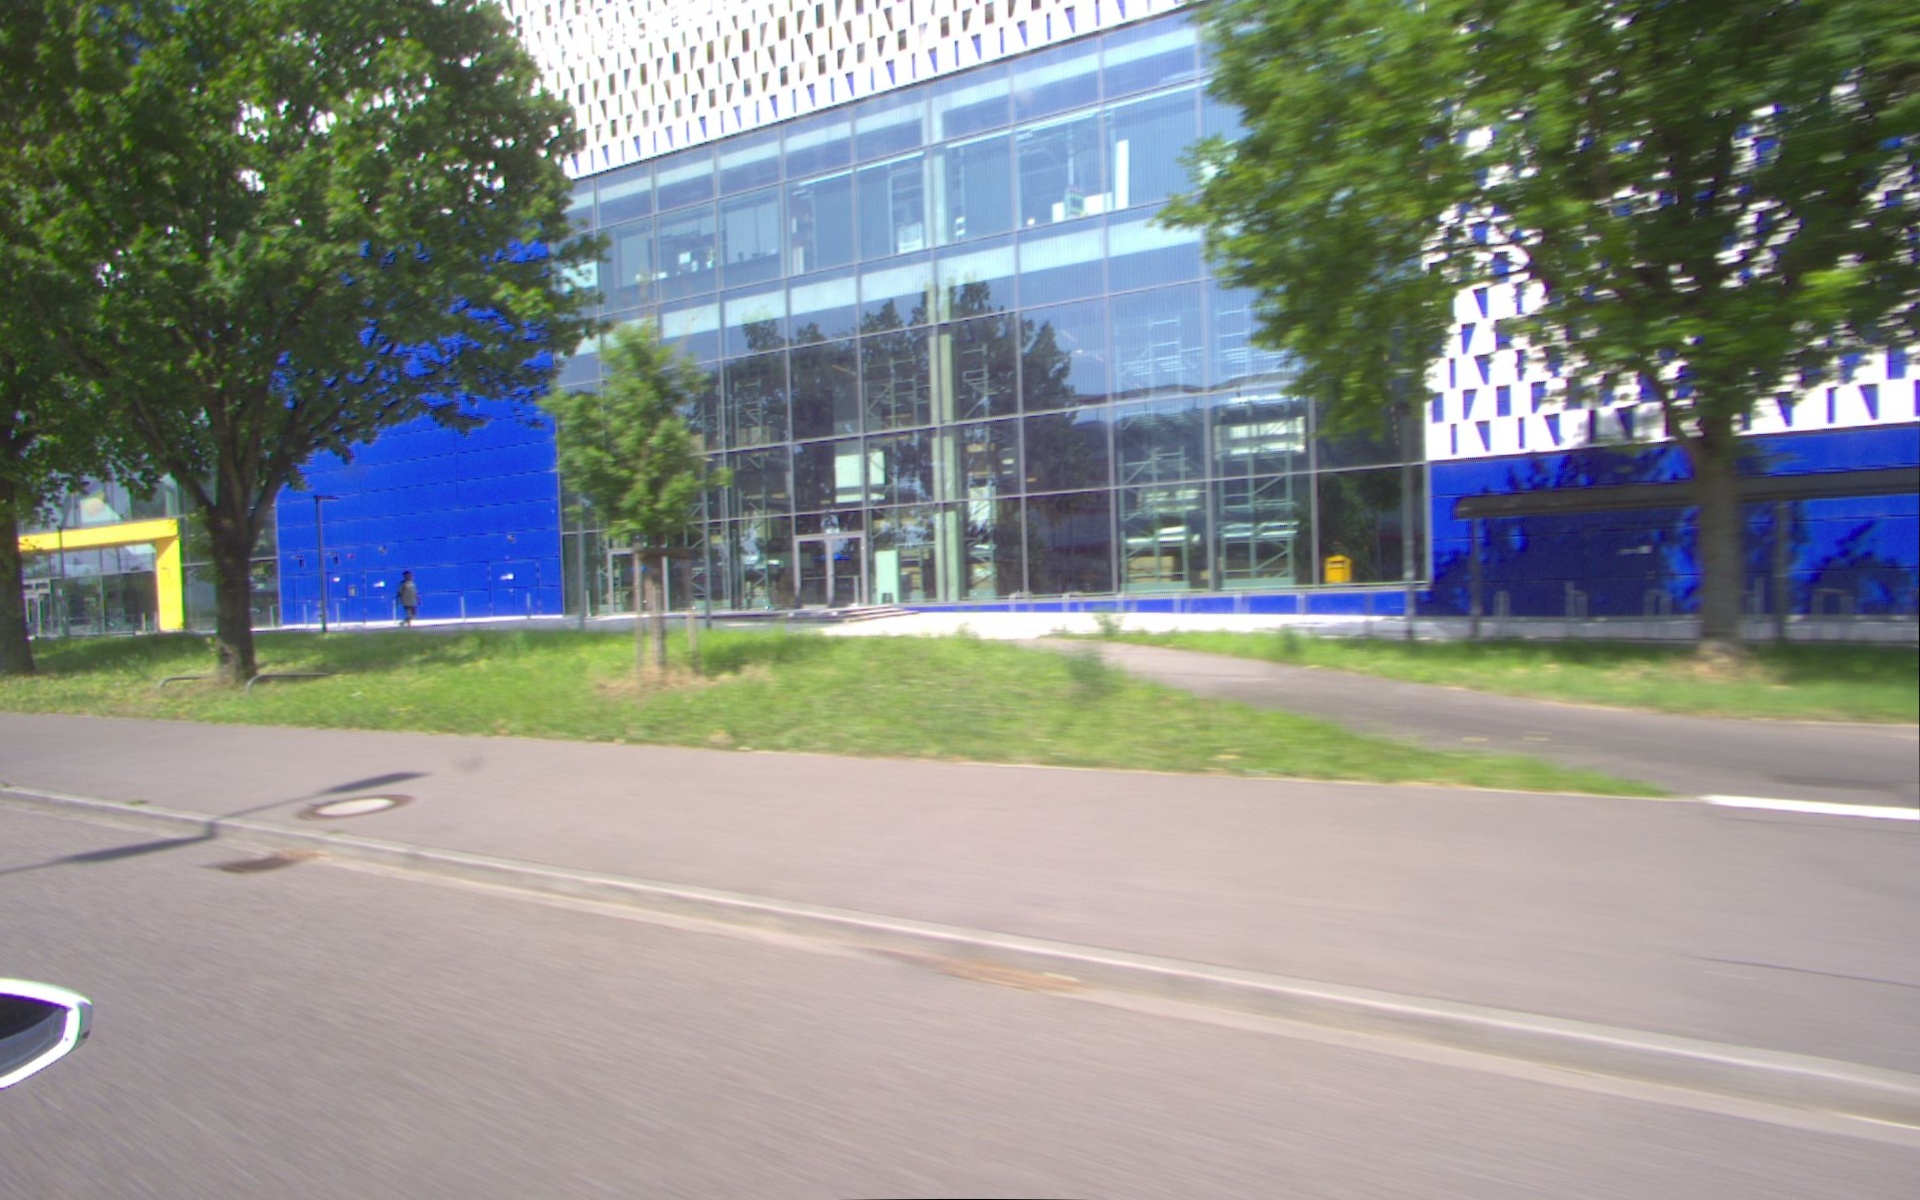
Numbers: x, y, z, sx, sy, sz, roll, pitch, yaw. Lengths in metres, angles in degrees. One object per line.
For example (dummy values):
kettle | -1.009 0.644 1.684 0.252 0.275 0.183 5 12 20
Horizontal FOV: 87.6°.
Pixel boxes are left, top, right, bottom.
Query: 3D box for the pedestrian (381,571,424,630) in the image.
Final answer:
pedestrian | -15.665 -0.001 28.168 0.758 1.634 0.688 0 2 23
